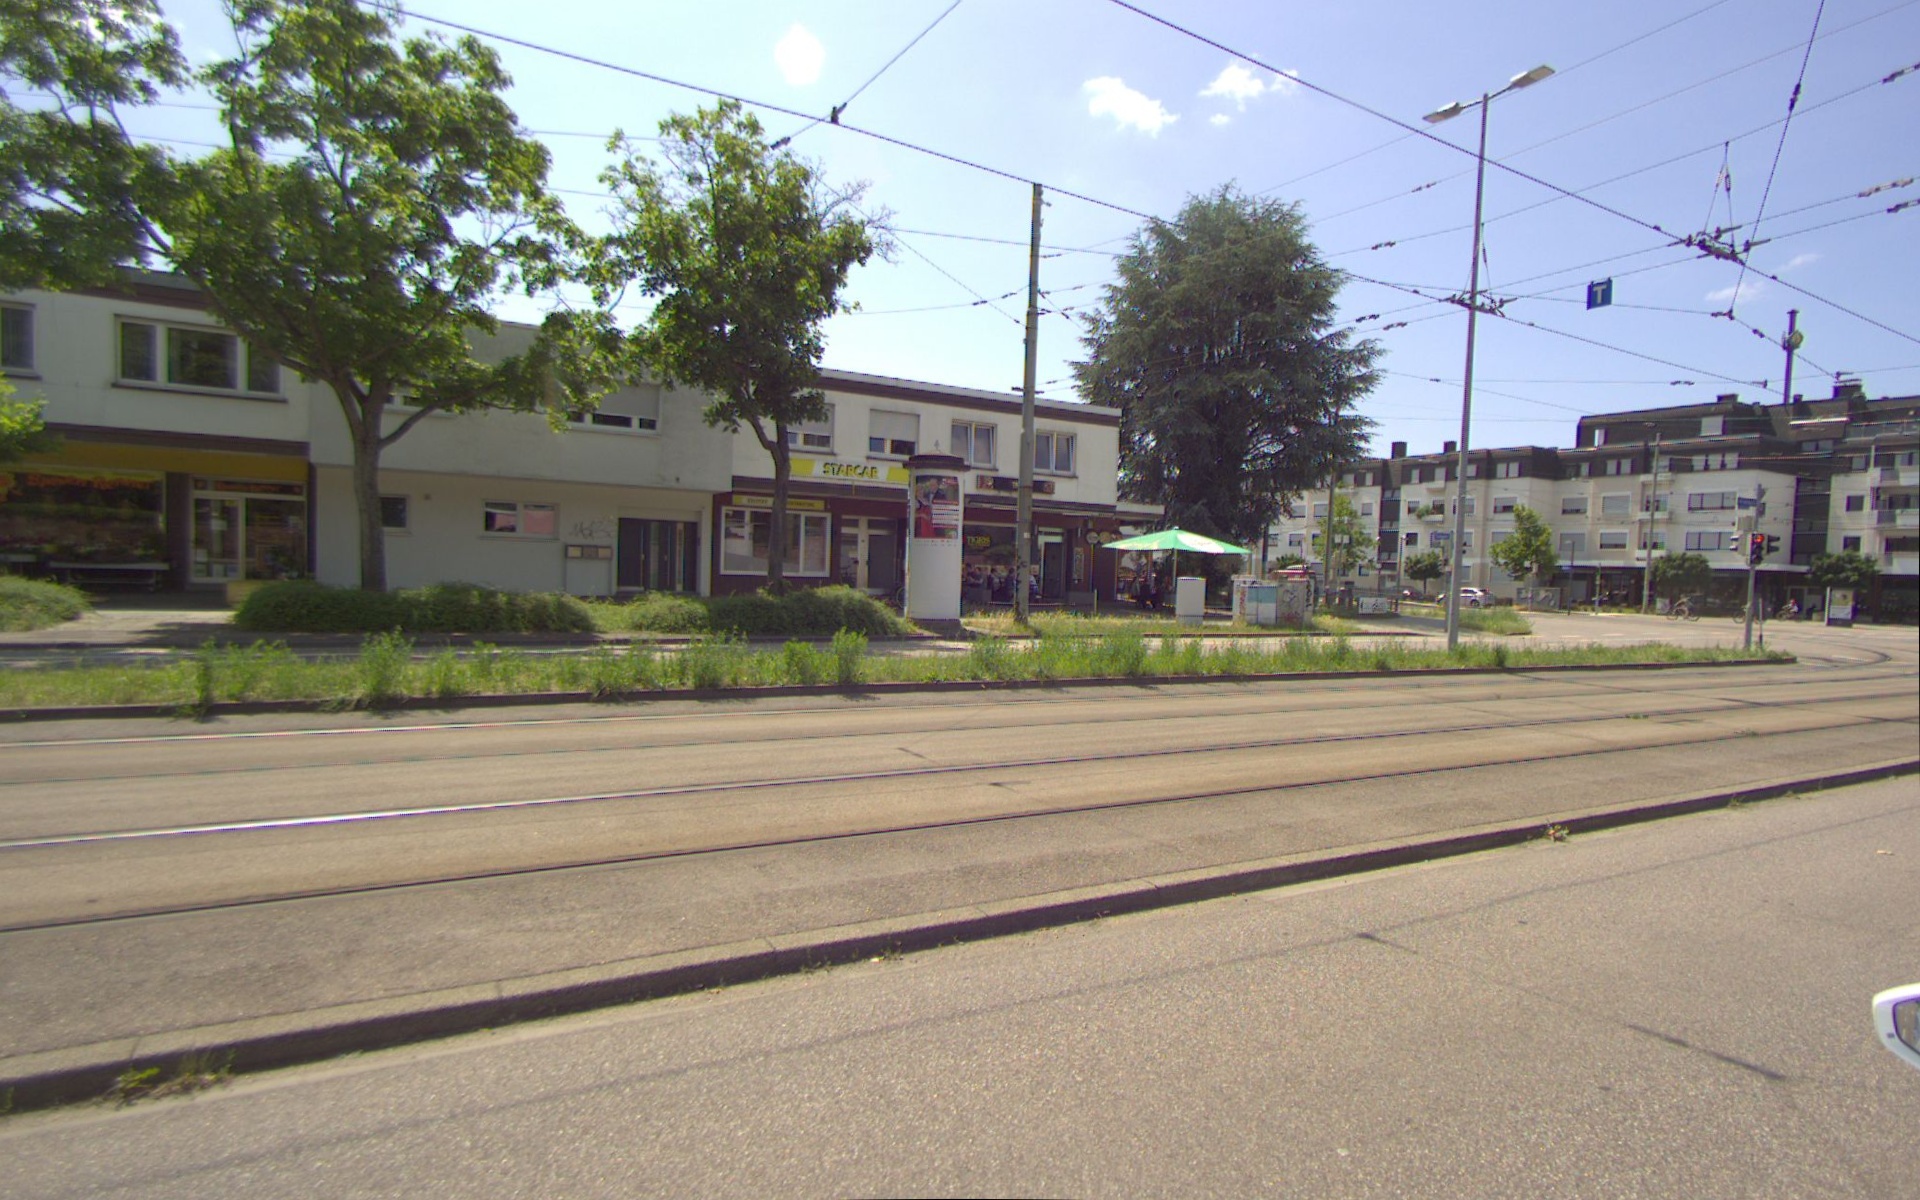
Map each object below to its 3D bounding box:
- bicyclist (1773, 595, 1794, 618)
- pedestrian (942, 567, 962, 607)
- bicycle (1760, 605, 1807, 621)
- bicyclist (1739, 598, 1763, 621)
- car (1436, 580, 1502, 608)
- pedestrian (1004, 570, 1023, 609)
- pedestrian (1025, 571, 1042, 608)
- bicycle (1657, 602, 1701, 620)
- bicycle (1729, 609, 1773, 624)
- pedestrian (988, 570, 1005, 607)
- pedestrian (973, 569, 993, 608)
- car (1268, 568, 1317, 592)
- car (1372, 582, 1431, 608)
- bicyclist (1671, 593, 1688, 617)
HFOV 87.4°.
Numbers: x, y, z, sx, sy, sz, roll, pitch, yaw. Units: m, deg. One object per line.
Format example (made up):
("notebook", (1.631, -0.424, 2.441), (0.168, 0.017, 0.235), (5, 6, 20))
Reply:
("bicyclist", (53.296, 0.410, 64.985), (0.832, 1.487, 0.656), (2, 0, 21))
("pedestrian", (-0.269, -0.419, 32.798), (0.526, 1.285, 0.351), (1, 2, -29))
("bicycle", (53.295, 0.859, 64.999), (2.213, 0.947, 0.671), (2, 0, 19))
("bicyclist", (49.003, 0.584, 62.231), (0.945, 1.441, 0.631), (2, 0, 8))
("car", (38.337, -0.448, 75.727), (1.977, 1.938, 3.966), (1, 2, -31))
("pedestrian", (1.810, -0.350, 34.001), (0.495, 1.285, 0.317), (1, 2, -29))
("pedestrian", (2.579, -0.356, 35.228), (0.447, 1.285, 0.339), (1, 2, -28))
("bicycle", (45.952, 0.706, 64.190), (2.222, 1.115, 0.515), (2, 0, 38))
("bicycle", (49.011, 1.015, 62.230), (2.211, 0.893, 0.419), (2, 0, 8))
("pedestrian", (1.262, -0.407, 34.595), (0.396, 1.263, 0.384), (1, 2, -29))
("pedestrian", (0.757, -0.377, 33.473), (0.521, 1.285, 0.343), (1, 2, -28))
("car", (30.023, -1.842, 90.807), (1.975, 2.041, 3.971), (1, 2, -28))
("car", (35.690, -0.405, 81.341), (1.977, 2.041, 3.966), (0, 1, -31))
("bicyclist", (45.979, 0.301, 64.174), (0.840, 1.507, 0.733), (2, 0, 39))
